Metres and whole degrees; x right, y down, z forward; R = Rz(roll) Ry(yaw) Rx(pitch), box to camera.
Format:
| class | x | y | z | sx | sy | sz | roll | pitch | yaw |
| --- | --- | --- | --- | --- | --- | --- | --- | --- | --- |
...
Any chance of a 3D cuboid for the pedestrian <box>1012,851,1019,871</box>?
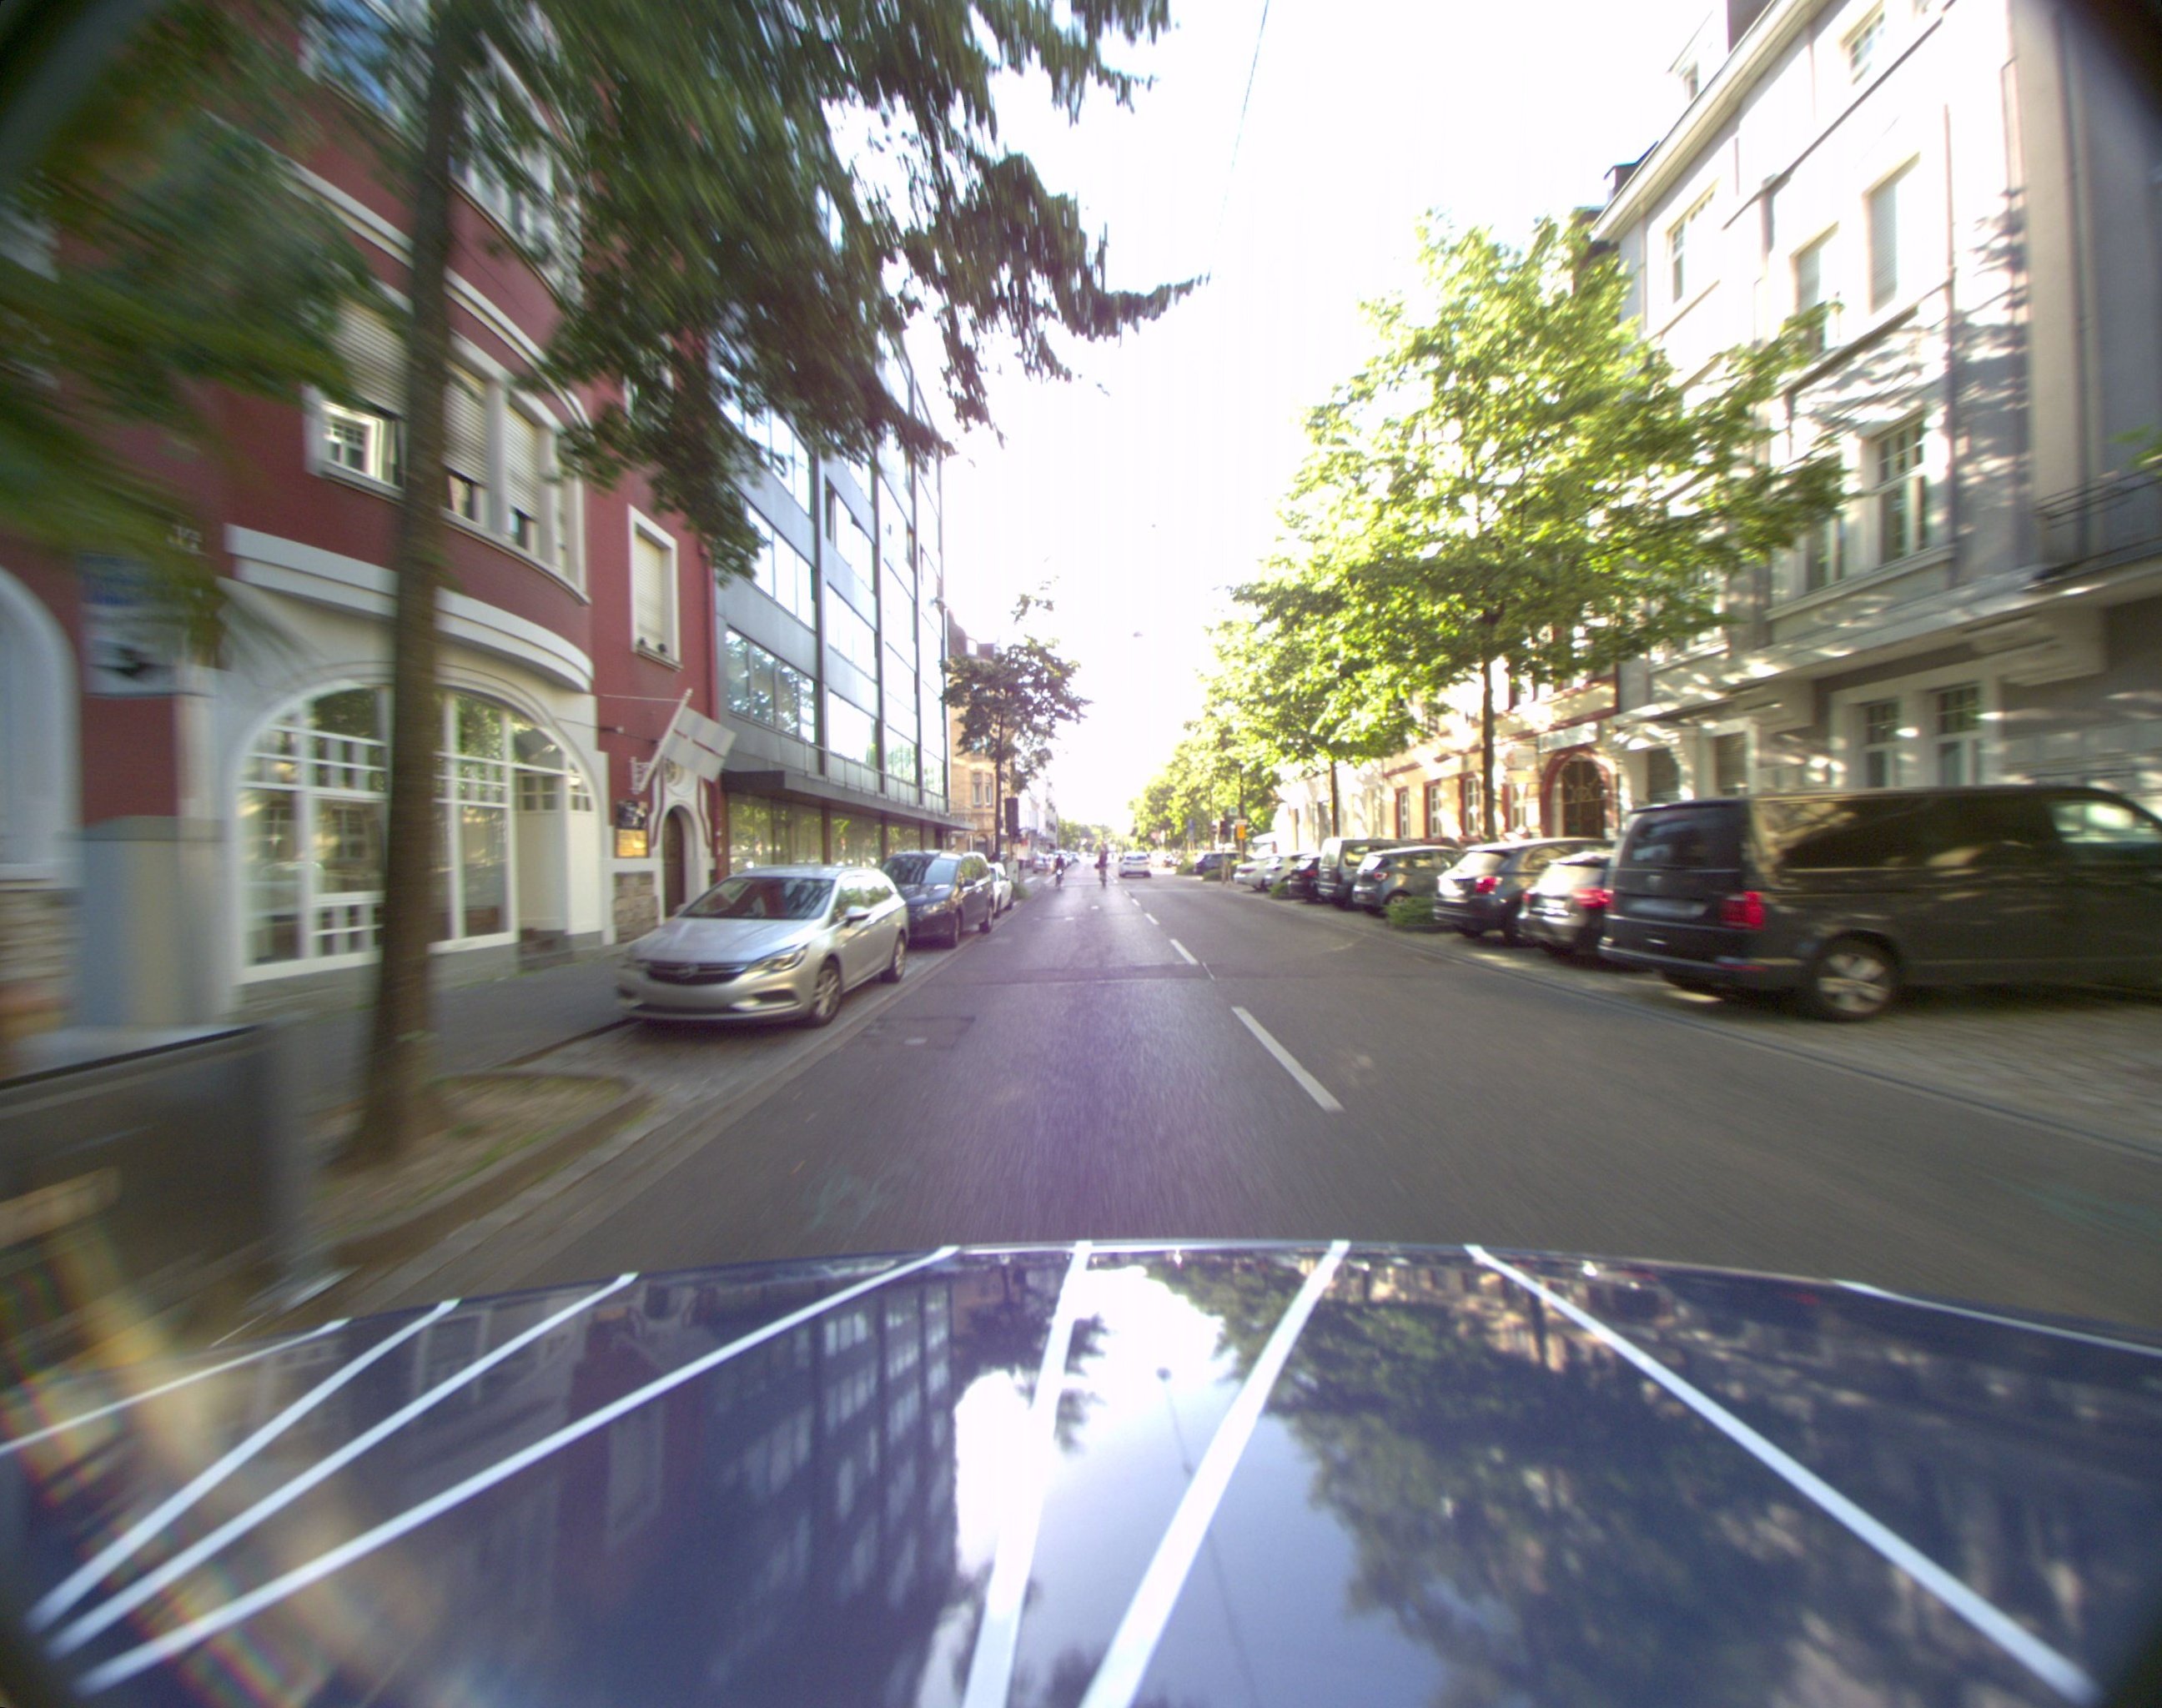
| class | x | y | z | sx | sy | sz | roll | pitch | yaw |
| --- | --- | --- | --- | --- | --- | --- | --- | --- | --- |
| pedestrian | -5.917 | 0.625 | 68.385 | 0.536 | 1.732 | 0.598 | -1 | 1 | -4 |

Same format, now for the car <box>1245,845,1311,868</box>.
| class | x | y | z | sx | sy | sz | roll | pitch | yaw |
| --- | --- | --- | --- | --- | --- | --- | --- | --- | --- |
| car | 16.779 | 0.221 | 64.571 | 5.335 | 1.933 | 2.070 | 0 | 0 | -25 |

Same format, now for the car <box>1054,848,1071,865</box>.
| class | x | y | z | sx | sy | sz | roll | pitch | yaw |
| --- | --- | --- | --- | --- | --- | --- | --- | --- | --- |
| car | -2.256 | 0.289 | 93.804 | 1.999 | 1.942 | 5.100 | 1 | 0 | -1 |

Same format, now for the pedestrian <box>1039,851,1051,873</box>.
| class | x | y | z | sx | sy | sz | roll | pitch | yaw |
| --- | --- | --- | --- | --- | --- | --- | --- | --- | --- |
| pedestrian | -2.816 | 0.612 | 59.779 | 0.699 | 1.709 | 0.693 | 1 | 1 | -22 |

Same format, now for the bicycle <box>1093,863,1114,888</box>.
| class | x | y | z | sx | sy | sz | roll | pitch | yaw |
| --- | --- | --- | --- | --- | --- | --- | --- | --- | --- |
| bicycle | 1.053 | 1.018 | 36.199 | 0.718 | 1.105 | 2.268 | -1 | 0 | -4 |

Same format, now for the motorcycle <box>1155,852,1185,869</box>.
| class | x | y | z | sx | sy | sz | roll | pitch | yaw |
| --- | --- | --- | --- | --- | --- | --- | --- | --- | --- |
| motorcycle | 7.655 | 0.556 | 65.189 | 2.316 | 1.415 | 1.002 | -1 | 1 | 28 |

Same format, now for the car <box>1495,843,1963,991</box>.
| class | x | y | z | sx | sy | sz | roll | pitch | yaw |
| --- | --- | --- | --- | --- | --- | --- | --- | --- | --- |
| car | 7.966 | 0.713 | 9.670 | 4.351 | 1.586 | 1.916 | -1 | 0 | -1 |

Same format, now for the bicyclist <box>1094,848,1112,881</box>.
| class | x | y | z | sx | sy | sz | roll | pitch | yaw |
| --- | --- | --- | --- | --- | --- | --- | --- | --- | --- |
| bicyclist | 1.050 | 0.504 | 36.099 | 0.718 | 1.553 | 0.863 | -1 | 1 | -5 |

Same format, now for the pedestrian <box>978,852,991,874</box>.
| class | x | y | z | sx | sy | sz | roll | pitch | yaw |
| --- | --- | --- | --- | --- | --- | --- | --- | --- | --- |
| pedestrian | -7.343 | 0.682 | 57.579 | 0.618 | 1.683 | 0.717 | -1 | 1 | 28 |

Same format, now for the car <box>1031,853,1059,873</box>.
| class | x | y | z | sx | sy | sz | roll | pitch | yaw |
| --- | --- | --- | --- | --- | --- | --- | --- | --- | --- |
| car | -2.954 | 0.745 | 63.305 | 1.978 | 1.565 | 4.126 | 1 | 0 | 1 |

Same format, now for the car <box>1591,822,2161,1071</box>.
| class | x | y | z | sx | sy | sz | roll | pitch | yaw |
| --- | --- | --- | --- | --- | --- | --- | --- | --- | --- |
| car | 7.618 | 0.722 | 6.931 | 4.584 | 1.915 | 1.930 | -1 | 0 | 2 |

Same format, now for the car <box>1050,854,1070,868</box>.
| class | x | y | z | sx | sy | sz | roll | pitch | yaw |
| --- | --- | --- | --- | --- | --- | --- | --- | --- | --- |
| car | -2.314 | 0.763 | 84.447 | 1.998 | 1.482 | 4.000 | 1 | 0 | 1 |

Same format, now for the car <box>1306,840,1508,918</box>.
| class | x | y | z | sx | sy | sz | roll | pitch | yaw |
| --- | --- | --- | --- | --- | --- | --- | --- | --- | --- |
| car | 8.294 | 0.601 | 19.578 | 4.351 | 1.813 | 1.929 | -1 | 0 | -2 |

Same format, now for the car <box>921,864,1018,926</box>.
| class | x | y | z | sx | sy | sz | roll | pitch | yaw |
| --- | --- | --- | --- | --- | --- | --- | --- | --- | --- |
| car | -2.958 | 1.047 | 21.241 | 1.826 | 1.394 | 4.842 | 2 | 0 | 2 |

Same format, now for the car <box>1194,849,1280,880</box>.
| class | x | y | z | sx | sy | sz | roll | pitch | yaw |
| --- | --- | --- | --- | --- | --- | --- | --- | --- | --- |
| car | 8.523 | 0.555 | 41.853 | 4.349 | 1.535 | 1.945 | -1 | 0 | 3 |

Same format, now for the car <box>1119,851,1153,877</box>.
| class | x | y | z | sx | sy | sz | roll | pitch | yaw |
| --- | --- | --- | --- | --- | --- | --- | --- | --- | --- |
| car | 3.424 | 0.582 | 47.769 | 1.915 | 1.535 | 4.353 | -1 | 1 | 1 |

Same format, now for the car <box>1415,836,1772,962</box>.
| class | x | y | z | sx | sy | sz | roll | pitch | yaw |
| --- | --- | --- | --- | --- | --- | --- | --- | --- | --- |
| car | 7.875 | 0.649 | 12.000 | 4.351 | 1.723 | 1.916 | -1 | 0 | -1 |

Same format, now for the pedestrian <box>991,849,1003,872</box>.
| class | x | y | z | sx | sy | sz | roll | pitch | yaw |
| --- | --- | --- | --- | --- | --- | --- | --- | --- | --- |
| pedestrian | -6.269 | 0.462 | 56.797 | 0.617 | 1.682 | 0.677 | 2 | 3 | 45 |

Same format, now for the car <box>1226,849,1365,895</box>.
| class | x | y | z | sx | sy | sz | roll | pitch | yaw |
| --- | --- | --- | --- | --- | --- | --- | --- | --- | --- |
| car | 8.128 | 0.656 | 29.084 | 4.712 | 1.484 | 1.999 | -2 | 2 | -4 |

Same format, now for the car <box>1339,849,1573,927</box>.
| class | x | y | z | sx | sy | sz | roll | pitch | yaw |
| --- | --- | --- | --- | --- | --- | --- | --- | --- | --- |
| car | 8.316 | 0.721 | 17.084 | 4.352 | 1.535 | 1.915 | -1 | 0 | -5 |

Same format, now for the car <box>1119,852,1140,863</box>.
| class | x | y | z | sx | sy | sz | roll | pitch | yaw |
| --- | --- | --- | --- | --- | --- | --- | --- | --- | --- |
| car | 6.651 | 0.472 | 103.964 | 1.771 | 1.421 | 4.006 | -1 | 0 | 21 |

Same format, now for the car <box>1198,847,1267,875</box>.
| class | x | y | z | sx | sy | sz | roll | pitch | yaw |
| --- | --- | --- | --- | --- | --- | --- | --- | --- | --- |
| car | 9.435 | 0.442 | 47.556 | 3.996 | 1.630 | 1.945 | -1 | 0 | 3 |

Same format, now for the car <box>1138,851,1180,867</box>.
| class | x | y | z | sx | sy | sz | roll | pitch | yaw |
| --- | --- | --- | --- | --- | --- | --- | --- | --- | --- |
| car | 8.264 | 0.487 | 80.669 | 4.006 | 1.553 | 1.995 | -2 | 0 | -30 |

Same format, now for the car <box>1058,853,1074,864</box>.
| class | x | y | z | sx | sy | sz | roll | pitch | yaw |
| --- | --- | --- | --- | --- | --- | --- | --- | --- | --- |
| car | -2.030 | 0.572 | 103.779 | 1.999 | 1.444 | 3.955 | 1 | 0 | 0 |

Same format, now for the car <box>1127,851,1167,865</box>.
| class | x | y | z | sx | sy | sz | roll | pitch | yaw |
| --- | --- | --- | --- | --- | --- | --- | --- | --- | --- |
| car | 7.474 | 0.457 | 86.046 | 4.005 | 1.465 | 1.996 | -1 | 0 | -25 |

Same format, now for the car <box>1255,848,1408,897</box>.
| class | x | y | z | sx | sy | sz | roll | pitch | yaw |
| --- | --- | --- | --- | --- | --- | --- | --- | --- | --- |
| car | 8.794 | 0.627 | 26.987 | 4.712 | 1.483 | 2.000 | -2 | 0 | -4 |

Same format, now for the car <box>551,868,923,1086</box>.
| class | x | y | z | sx | sy | sz | roll | pitch | yaw |
| --- | --- | --- | --- | --- | --- | --- | --- | --- | --- |
| car | -3.241 | 1.019 | 8.450 | 1.826 | 1.587 | 4.842 | 2 | 0 | 1 |

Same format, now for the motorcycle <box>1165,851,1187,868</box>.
| class | x | y | z | sx | sy | sz | roll | pitch | yaw |
| --- | --- | --- | --- | --- | --- | --- | --- | --- | --- |
| motorcycle | 8.262 | 0.446 | 66.023 | 1.750 | 1.415 | 0.831 | -1 | 1 | 27 |

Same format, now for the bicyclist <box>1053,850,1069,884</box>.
| class | x | y | z | sx | sy | sz | roll | pitch | yaw |
| --- | --- | --- | --- | --- | --- | --- | --- | --- | --- |
| bicyclist | -0.914 | 0.612 | 35.440 | 0.658 | 1.562 | 0.909 | -1 | 1 | 1 |

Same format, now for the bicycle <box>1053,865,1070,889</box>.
| class | x | y | z | sx | sy | sz | roll | pitch | yaw |
| --- | --- | --- | --- | --- | --- | --- | --- | --- | --- |
| bicycle | -0.911 | 1.049 | 35.450 | 0.666 | 1.061 | 1.836 | -1 | 0 | 1 |

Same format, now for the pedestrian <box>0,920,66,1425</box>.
| class | x | y | z | sx | sy | sz | roll | pitch | yaw |
| --- | --- | --- | --- | --- | --- | --- | --- | --- | --- |
| pedestrian | -3.853 | 0.982 | 2.046 | 1.058 | 1.527 | 0.892 | 0 | 1 | 5 |

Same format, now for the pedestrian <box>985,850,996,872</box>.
| class | x | y | z | sx | sy | sz | roll | pitch | yaw |
| --- | --- | --- | --- | --- | --- | --- | --- | --- | --- |
| pedestrian | -6.996 | 0.517 | 58.607 | 0.498 | 1.683 | 0.717 | -1 | 1 | 28 |

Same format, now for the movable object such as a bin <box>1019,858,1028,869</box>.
| class | x | y | z | sx | sy | sz | roll | pitch | yaw |
| --- | --- | --- | --- | --- | --- | --- | --- | --- | --- |
| movable object such as a bin | -5.588 | 0.934 | 74.113 | 0.725 | 1.042 | 0.664 | 2 | -1 | 11 |

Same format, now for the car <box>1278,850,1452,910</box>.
| class | x | y | z | sx | sy | sz | roll | pitch | yaw |
| --- | --- | --- | --- | --- | --- | --- | --- | --- | --- |
| car | 8.210 | 0.717 | 22.166 | 4.354 | 1.535 | 1.962 | -1 | 0 | -10 |

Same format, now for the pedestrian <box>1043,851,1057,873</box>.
| class | x | y | z | sx | sy | sz | roll | pitch | yaw |
| --- | --- | --- | --- | --- | --- | --- | --- | --- | --- |
| pedestrian | -2.380 | 0.627 | 58.966 | 0.693 | 1.709 | 0.897 | 2 | 1 | 25 |

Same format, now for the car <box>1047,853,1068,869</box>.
| class | x | y | z | sx | sy | sz | roll | pitch | yaw |
| --- | --- | --- | --- | --- | --- | --- | --- | --- | --- |
| car | -2.481 | 0.758 | 80.313 | 1.998 | 1.565 | 4.000 | 1 | 0 | 1 |

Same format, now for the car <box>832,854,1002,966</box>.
| class | x | y | z | sx | sy | sz | roll | pitch | yaw |
| --- | --- | --- | --- | --- | --- | --- | --- | --- | --- |
| car | -2.932 | 0.905 | 14.808 | 1.826 | 1.767 | 4.932 | 2 | 0 | 5 |
